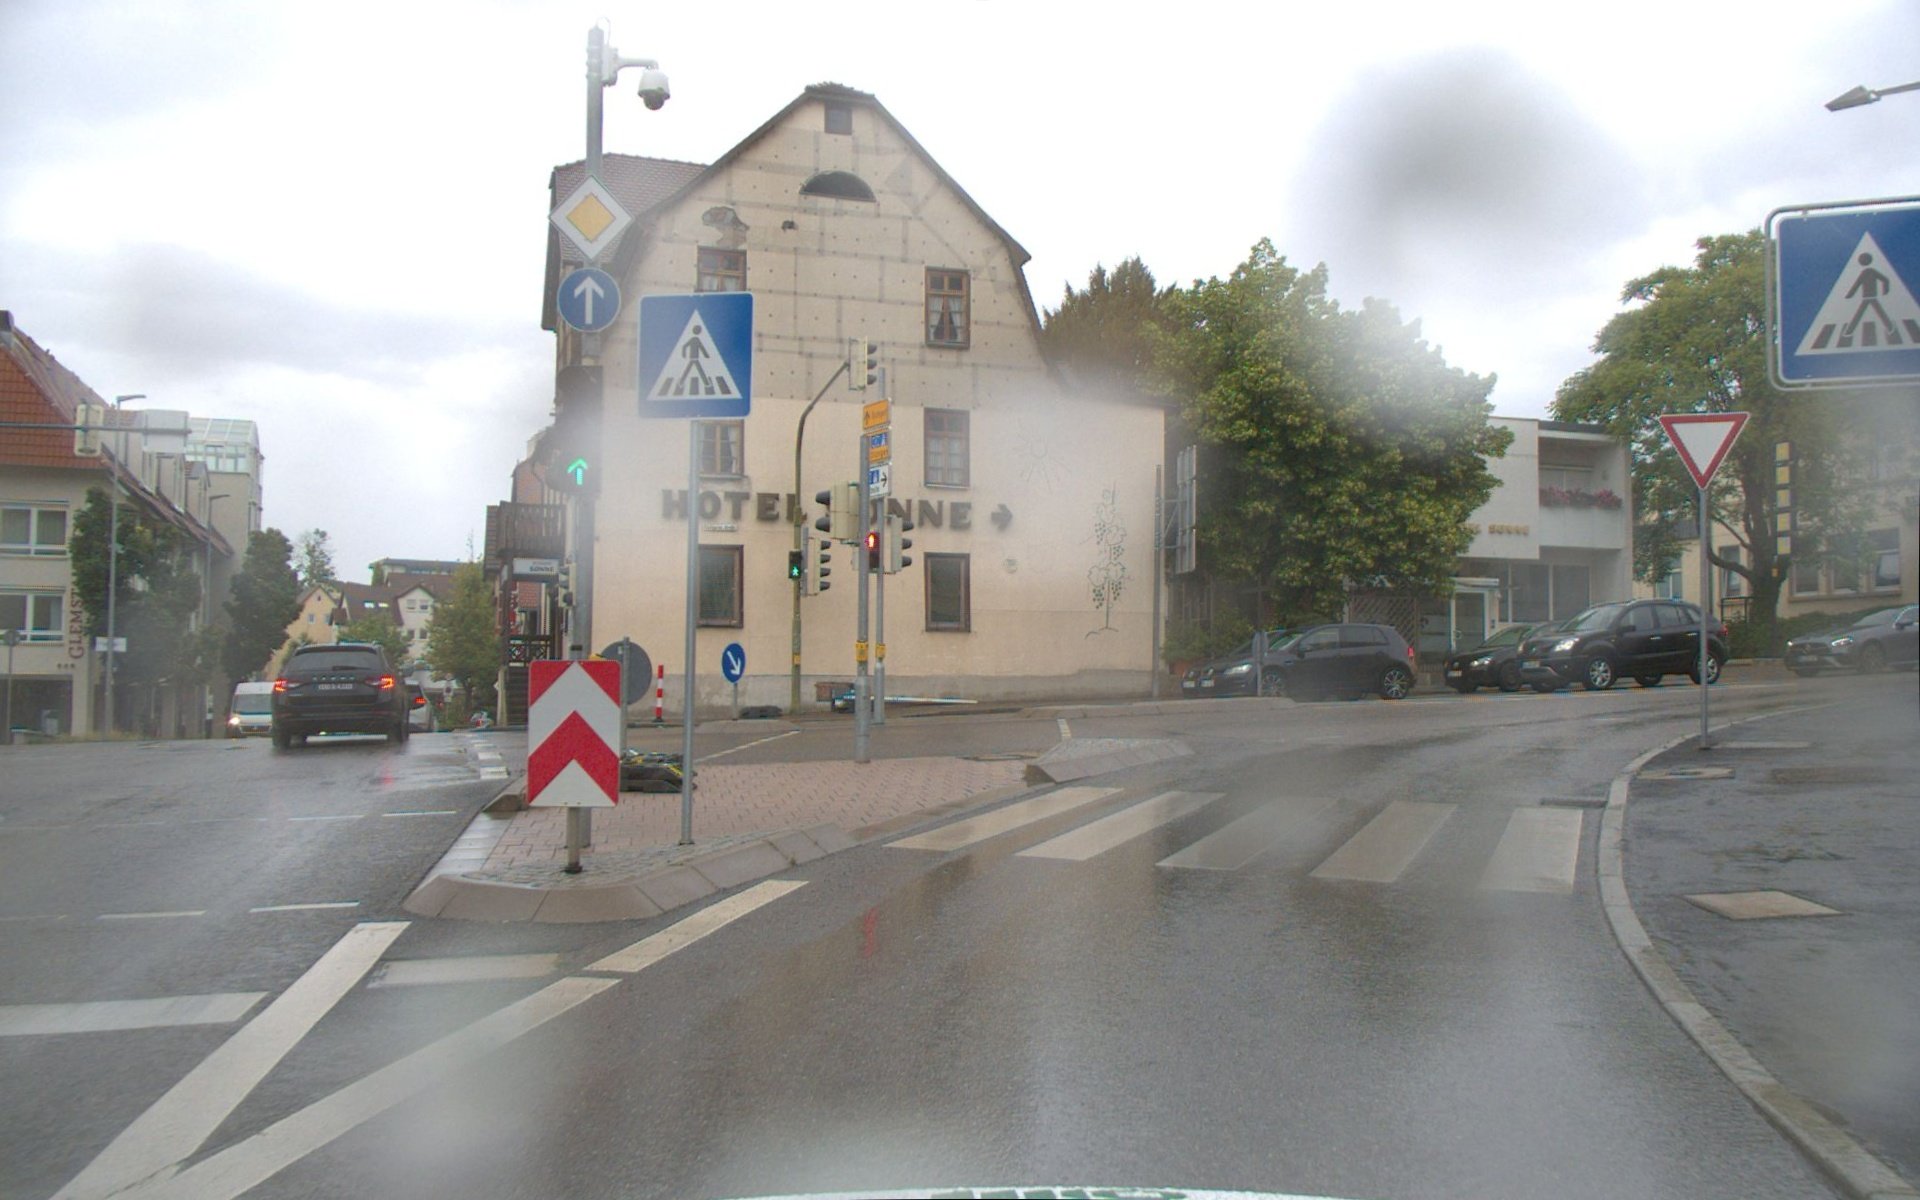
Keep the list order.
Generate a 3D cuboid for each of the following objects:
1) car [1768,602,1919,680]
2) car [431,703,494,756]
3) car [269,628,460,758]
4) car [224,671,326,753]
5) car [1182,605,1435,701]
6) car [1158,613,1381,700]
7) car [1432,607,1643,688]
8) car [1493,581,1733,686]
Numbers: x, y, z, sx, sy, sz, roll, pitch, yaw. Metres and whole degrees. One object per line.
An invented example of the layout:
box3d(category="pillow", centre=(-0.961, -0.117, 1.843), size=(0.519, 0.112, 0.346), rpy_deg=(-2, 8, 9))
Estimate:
box3d(category="car", centre=(19.720, 0.848, 35.344), size=(4.458, 1.477, 1.768), rpy_deg=(-2, -4, -20))
box3d(category="car", centre=(-17.765, 4.591, 59.167), size=(1.854, 1.493, 3.987), rpy_deg=(-1, 1, -13))
box3d(category="car", centre=(-8.864, 1.321, 24.981), size=(1.909, 1.594, 4.408), rpy_deg=(1, 1, -9))
box3d(category="car", centre=(-25.633, 4.121, 62.168), size=(2.544, 2.672, 6.531), rpy_deg=(-2, -1, -14))
box3d(category="car", centre=(6.416, 0.980, 30.491), size=(4.241, 1.531, 1.767), rpy_deg=(-1, -4, -22))
box3d(category="car", centre=(6.309, 1.152, 33.758), size=(4.111, 1.545, 1.768), rpy_deg=(-2, -4, -20))
box3d(category="car", centre=(12.615, 1.038, 36.140), size=(4.111, 1.545, 1.768), rpy_deg=(-2, -4, -20))
box3d(category="car", centre=(12.892, 0.662, 32.677), size=(4.238, 1.847, 1.768), rpy_deg=(-2, -4, -20))
